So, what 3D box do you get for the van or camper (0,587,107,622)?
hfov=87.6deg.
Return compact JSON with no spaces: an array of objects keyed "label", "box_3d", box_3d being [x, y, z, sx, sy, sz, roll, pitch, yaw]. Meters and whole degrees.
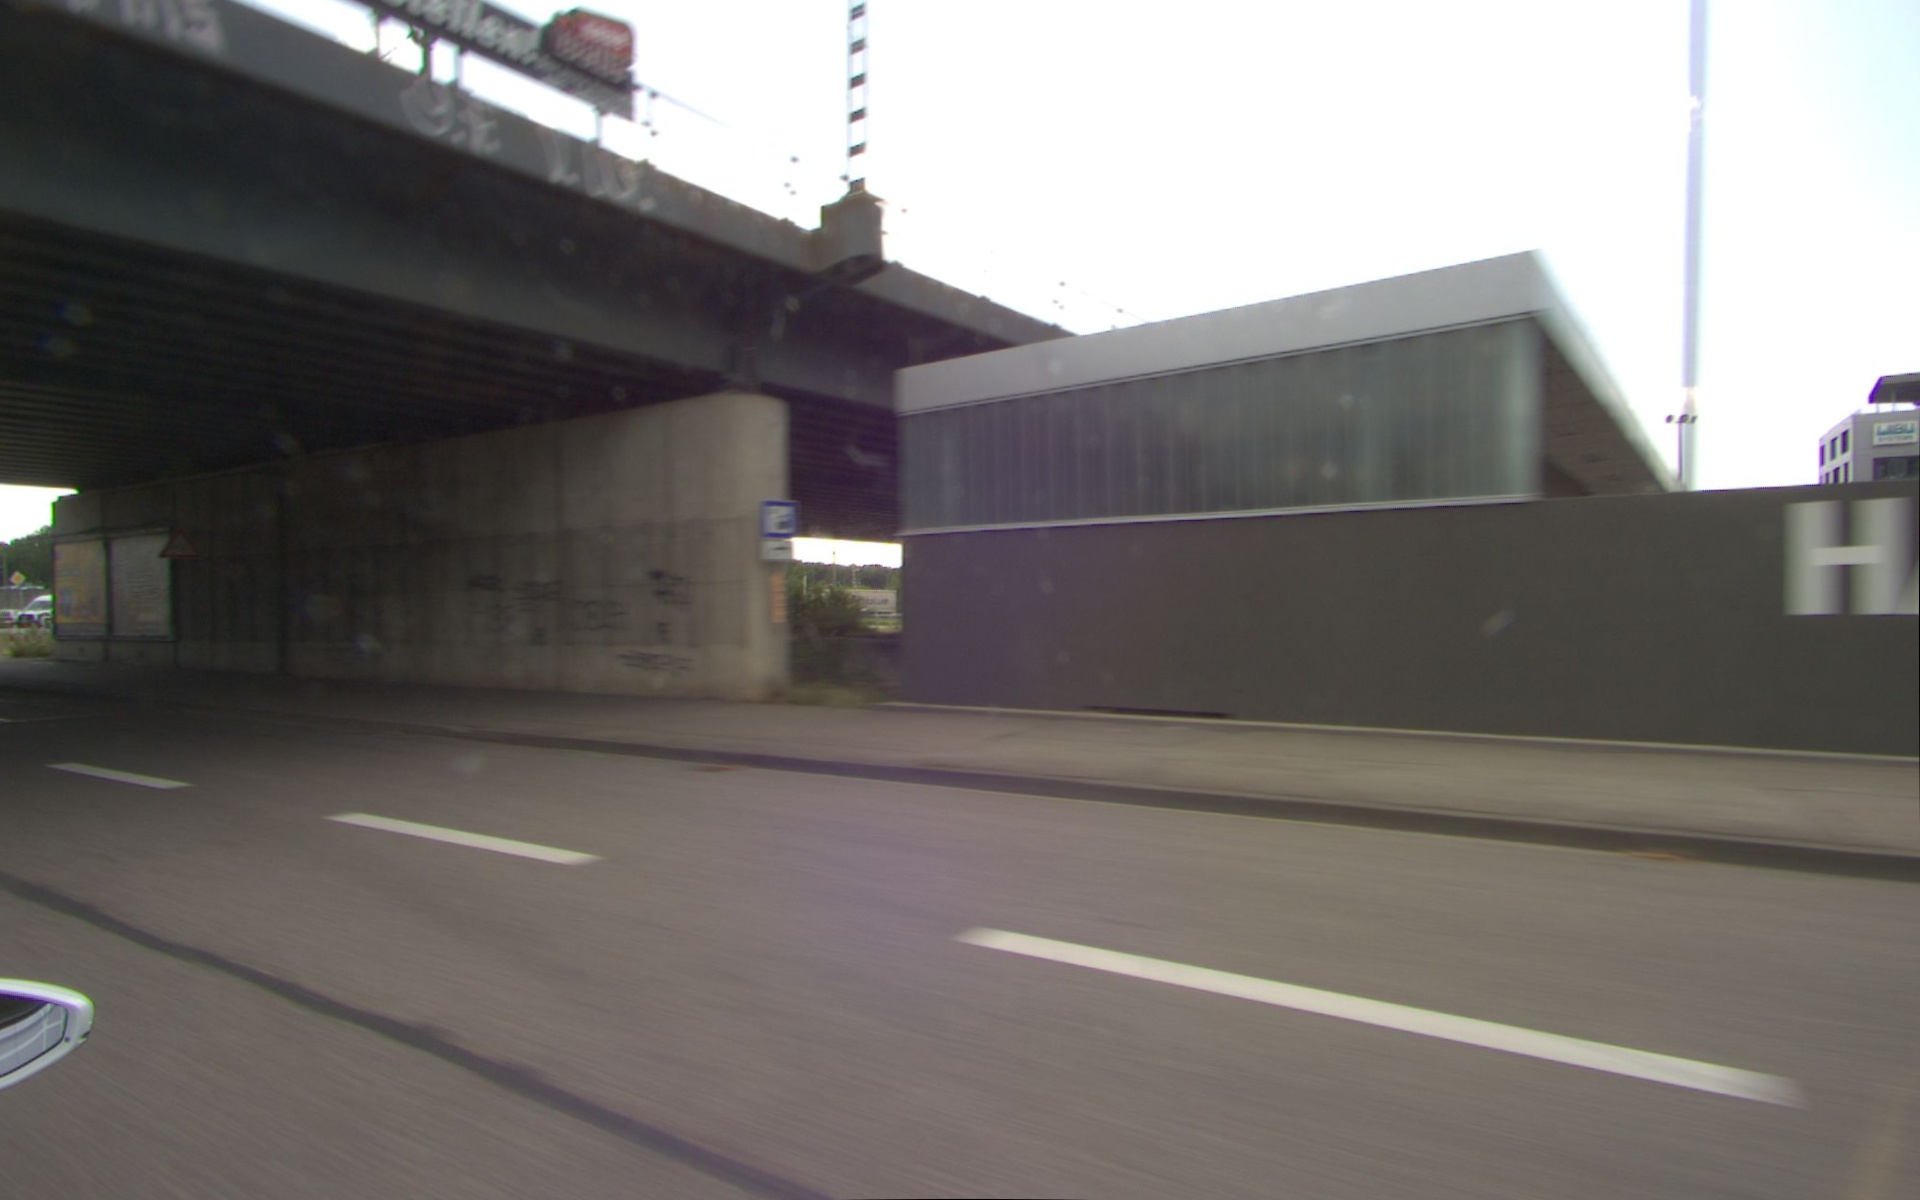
[{"label":"van or camper","box_3d":[-61.805,0.350,68.422,2.085,2.200,6.250,0,-2,-4]}]
